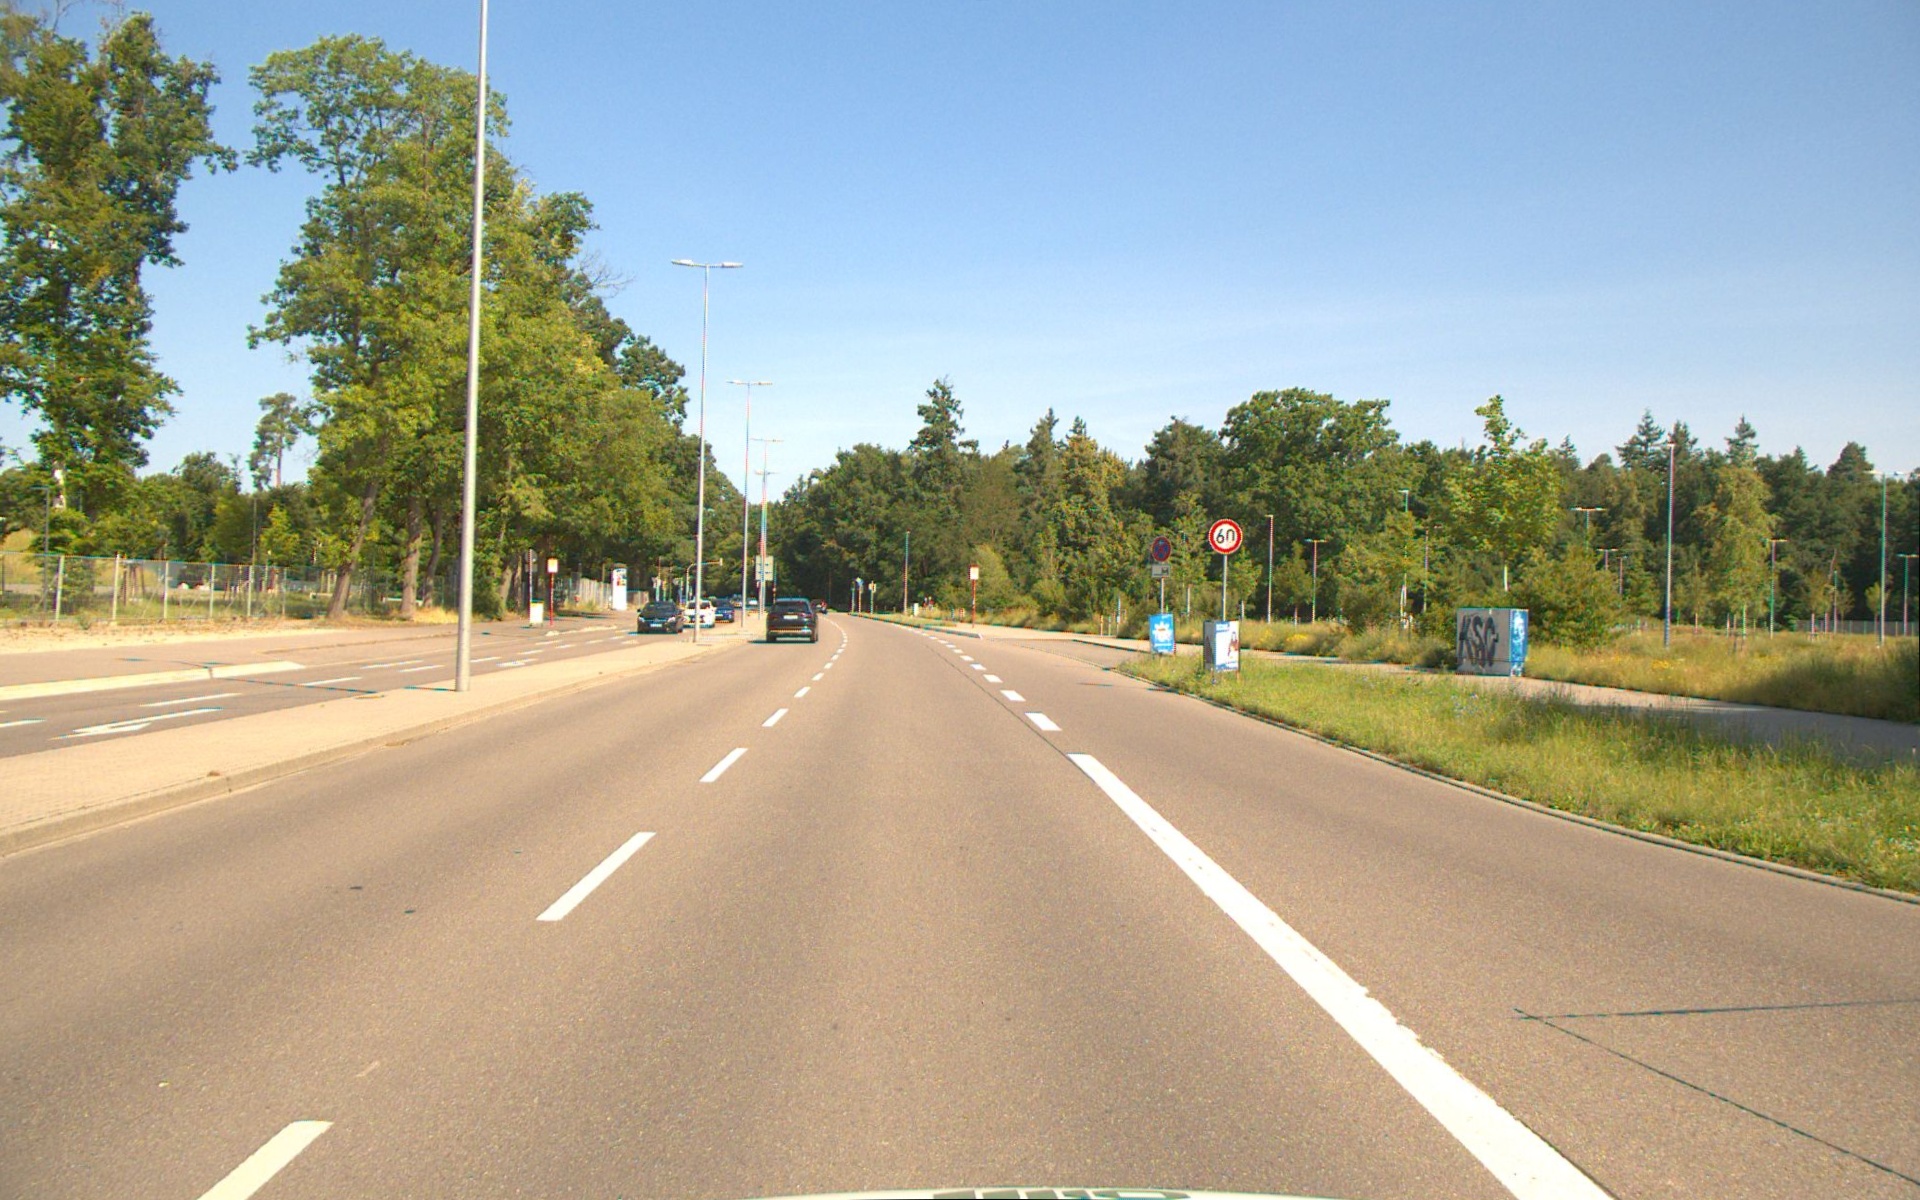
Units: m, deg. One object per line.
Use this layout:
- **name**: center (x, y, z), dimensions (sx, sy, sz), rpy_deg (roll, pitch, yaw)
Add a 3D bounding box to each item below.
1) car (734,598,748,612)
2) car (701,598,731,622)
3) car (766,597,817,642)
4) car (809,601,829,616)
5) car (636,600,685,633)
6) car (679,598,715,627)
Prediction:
- **car**: center (-30.912, 0.662, 233.176), dimensions (1.806, 1.966, 4.622), rpy_deg (0, 0, -6)
- **car**: center (-16.233, 0.651, 110.166), dimensions (1.719, 1.512, 3.942), rpy_deg (-1, 0, -6)
- **car**: center (-6.108, 0.687, 60.303), dimensions (1.654, 1.571, 4.145), rpy_deg (0, 0, -4)
- **car**: center (-14.483, 0.828, 170.075), dimensions (1.904, 1.445, 4.286), rpy_deg (1, 0, -7)
- **car**: center (-13.390, 0.731, 74.057), dimensions (1.776, 1.412, 4.157), rpy_deg (-1, 0, -6)
- **car**: center (-14.478, 0.678, 91.250), dimensions (1.591, 1.492, 3.797), rpy_deg (-1, 0, -4)
